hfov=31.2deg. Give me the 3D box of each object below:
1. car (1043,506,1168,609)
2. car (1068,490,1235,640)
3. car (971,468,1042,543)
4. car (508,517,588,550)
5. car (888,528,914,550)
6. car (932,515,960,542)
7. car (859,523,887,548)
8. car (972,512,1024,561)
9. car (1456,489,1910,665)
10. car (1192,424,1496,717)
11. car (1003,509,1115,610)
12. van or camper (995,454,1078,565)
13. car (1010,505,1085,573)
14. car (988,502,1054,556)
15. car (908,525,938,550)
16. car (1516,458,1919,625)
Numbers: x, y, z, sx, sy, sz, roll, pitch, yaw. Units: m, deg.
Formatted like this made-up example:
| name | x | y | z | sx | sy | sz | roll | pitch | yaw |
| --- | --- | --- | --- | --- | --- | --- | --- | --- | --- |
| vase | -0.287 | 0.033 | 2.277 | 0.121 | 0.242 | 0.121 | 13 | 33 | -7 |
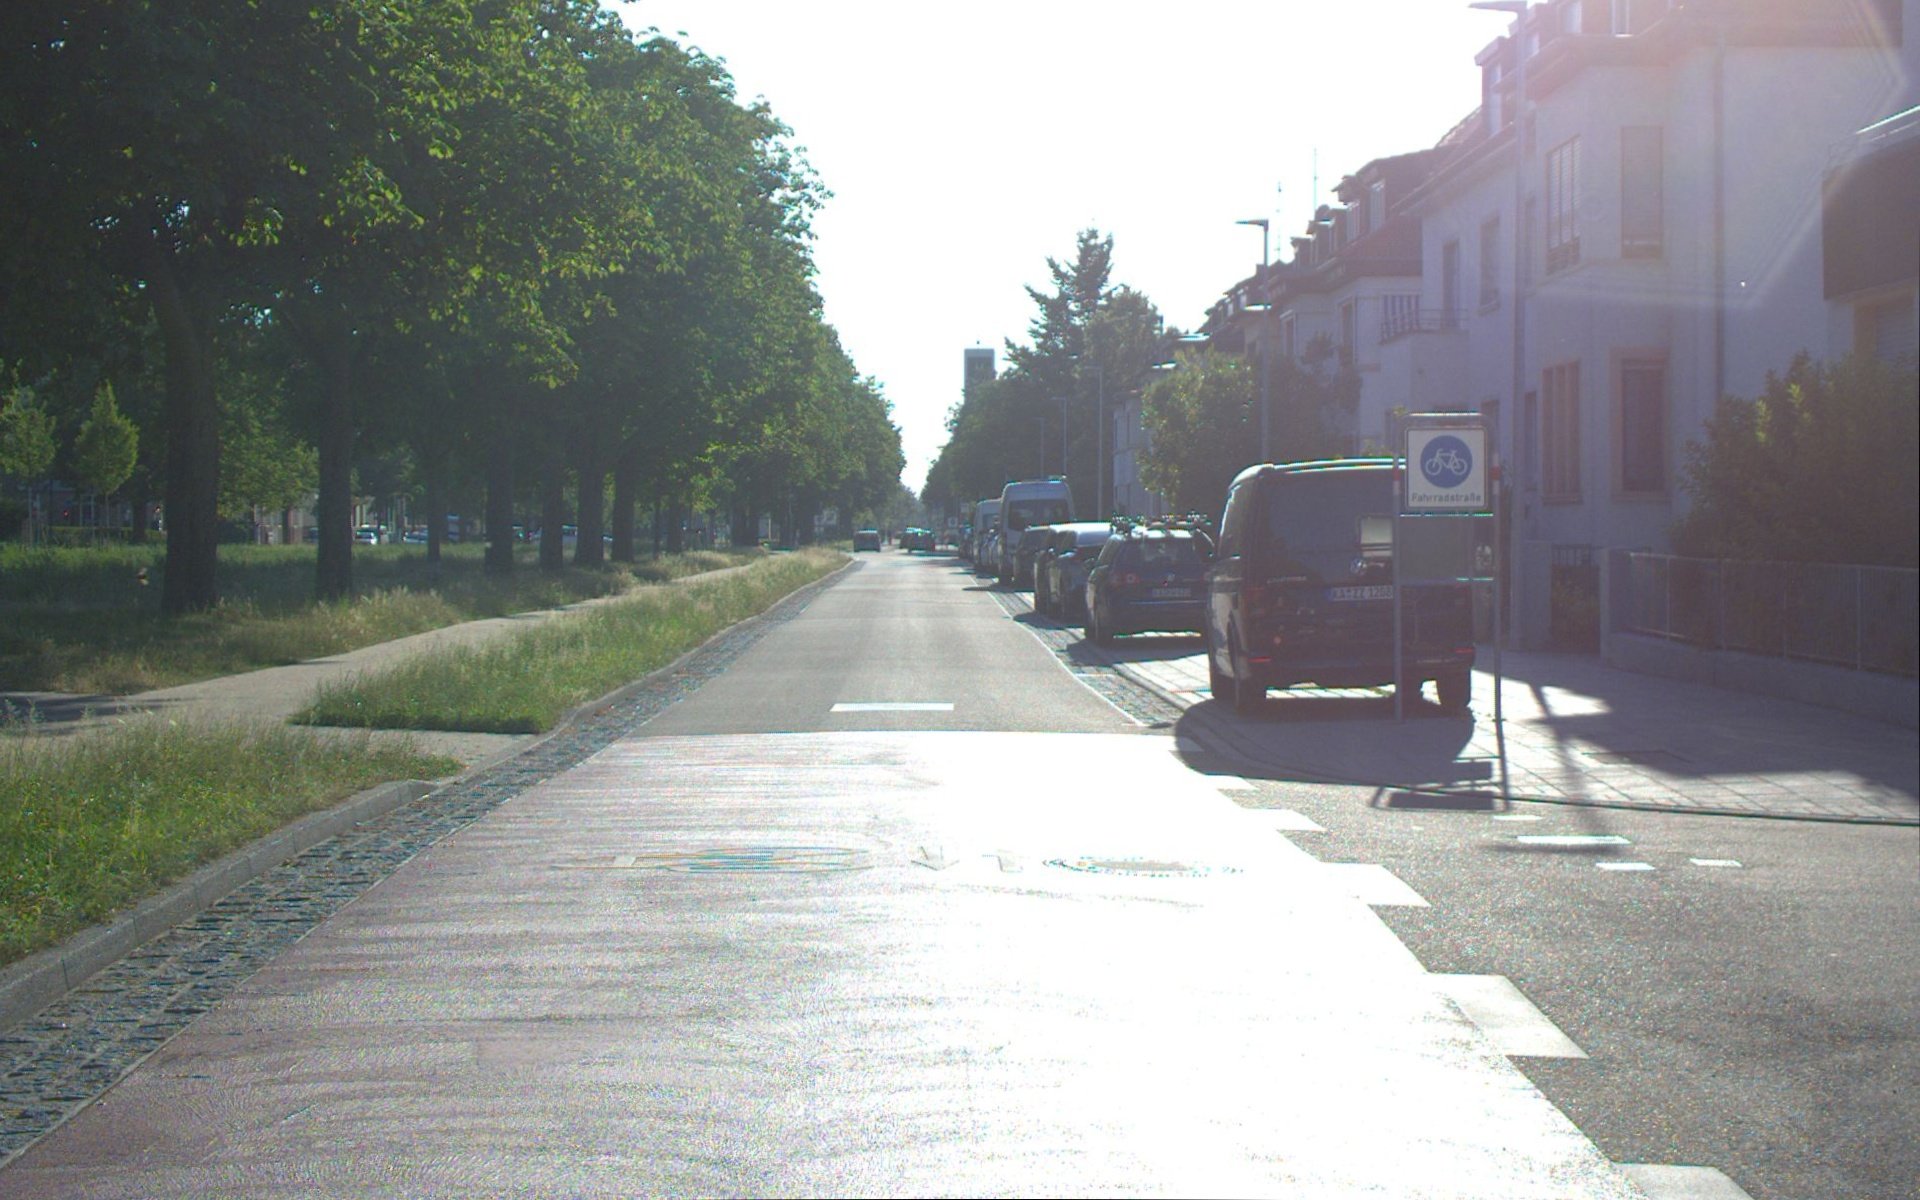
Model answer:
| name | x | y | z | sx | sy | sz | roll | pitch | yaw |
| --- | --- | --- | --- | --- | --- | --- | --- | --- | --- |
| car | 2.369 | -0.735 | 56.854 | 1.718 | 1.568 | 4.211 | -3 | 1 | -1 |
| car | 2.435 | -0.503 | 44.755 | 1.794 | 1.765 | 4.473 | -2 | 2 | -1 |
| car | 1.592 | -3.307 | 120.060 | 2.126 | 2.524 | 5.189 | -2 | 2 | -2 |
| car | -23.119 | -3.737 | 192.776 | 4.345 | 1.758 | 2.001 | 1 | 1 | -9 |
| car | -4.391 | -4.567 | 256.472 | 1.863 | 1.591 | 3.870 | 1 | 1 | -1 |
| car | -0.841 | -4.332 | 207.673 | 1.650 | 1.525 | 3.851 | 0 | 2 | 1 |
| car | -5.881 | -4.348 | 231.487 | 1.863 | 1.591 | 3.870 | 1 | 1 | -1 |
| car | 1.261 | -2.127 | 114.052 | 1.650 | 1.525 | 3.851 | -1 | 2 | 1 |
| car | 7.415 | -0.250 | 35.510 | 4.216 | 1.720 | 1.853 | 1 | 1 | -4 |
| car | 3.053 | -0.304 | 28.302 | 1.906 | 2.124 | 4.815 | -2 | 2 | 0 |
| car | 1.760 | -0.766 | 62.508 | 1.832 | 1.679 | 4.416 | 1 | 2 | -1 |
| van or camper | 1.961 | -2.337 | 89.942 | 1.943 | 2.768 | 5.940 | 1 | 1 | 0 |
| car | 2.091 | -1.505 | 83.369 | 1.663 | 1.587 | 4.086 | 1 | 2 | 0 |
| car | 1.906 | -2.262 | 108.603 | 1.837 | 1.630 | 4.132 | -2 | 2 | -2 |
| car | -2.439 | -4.128 | 226.348 | 1.863 | 1.591 | 3.894 | 1 | 2 | -1 |
| car | 8.461 | -0.657 | 38.060 | 4.216 | 1.720 | 1.853 | -1 | 1 | -4 |
